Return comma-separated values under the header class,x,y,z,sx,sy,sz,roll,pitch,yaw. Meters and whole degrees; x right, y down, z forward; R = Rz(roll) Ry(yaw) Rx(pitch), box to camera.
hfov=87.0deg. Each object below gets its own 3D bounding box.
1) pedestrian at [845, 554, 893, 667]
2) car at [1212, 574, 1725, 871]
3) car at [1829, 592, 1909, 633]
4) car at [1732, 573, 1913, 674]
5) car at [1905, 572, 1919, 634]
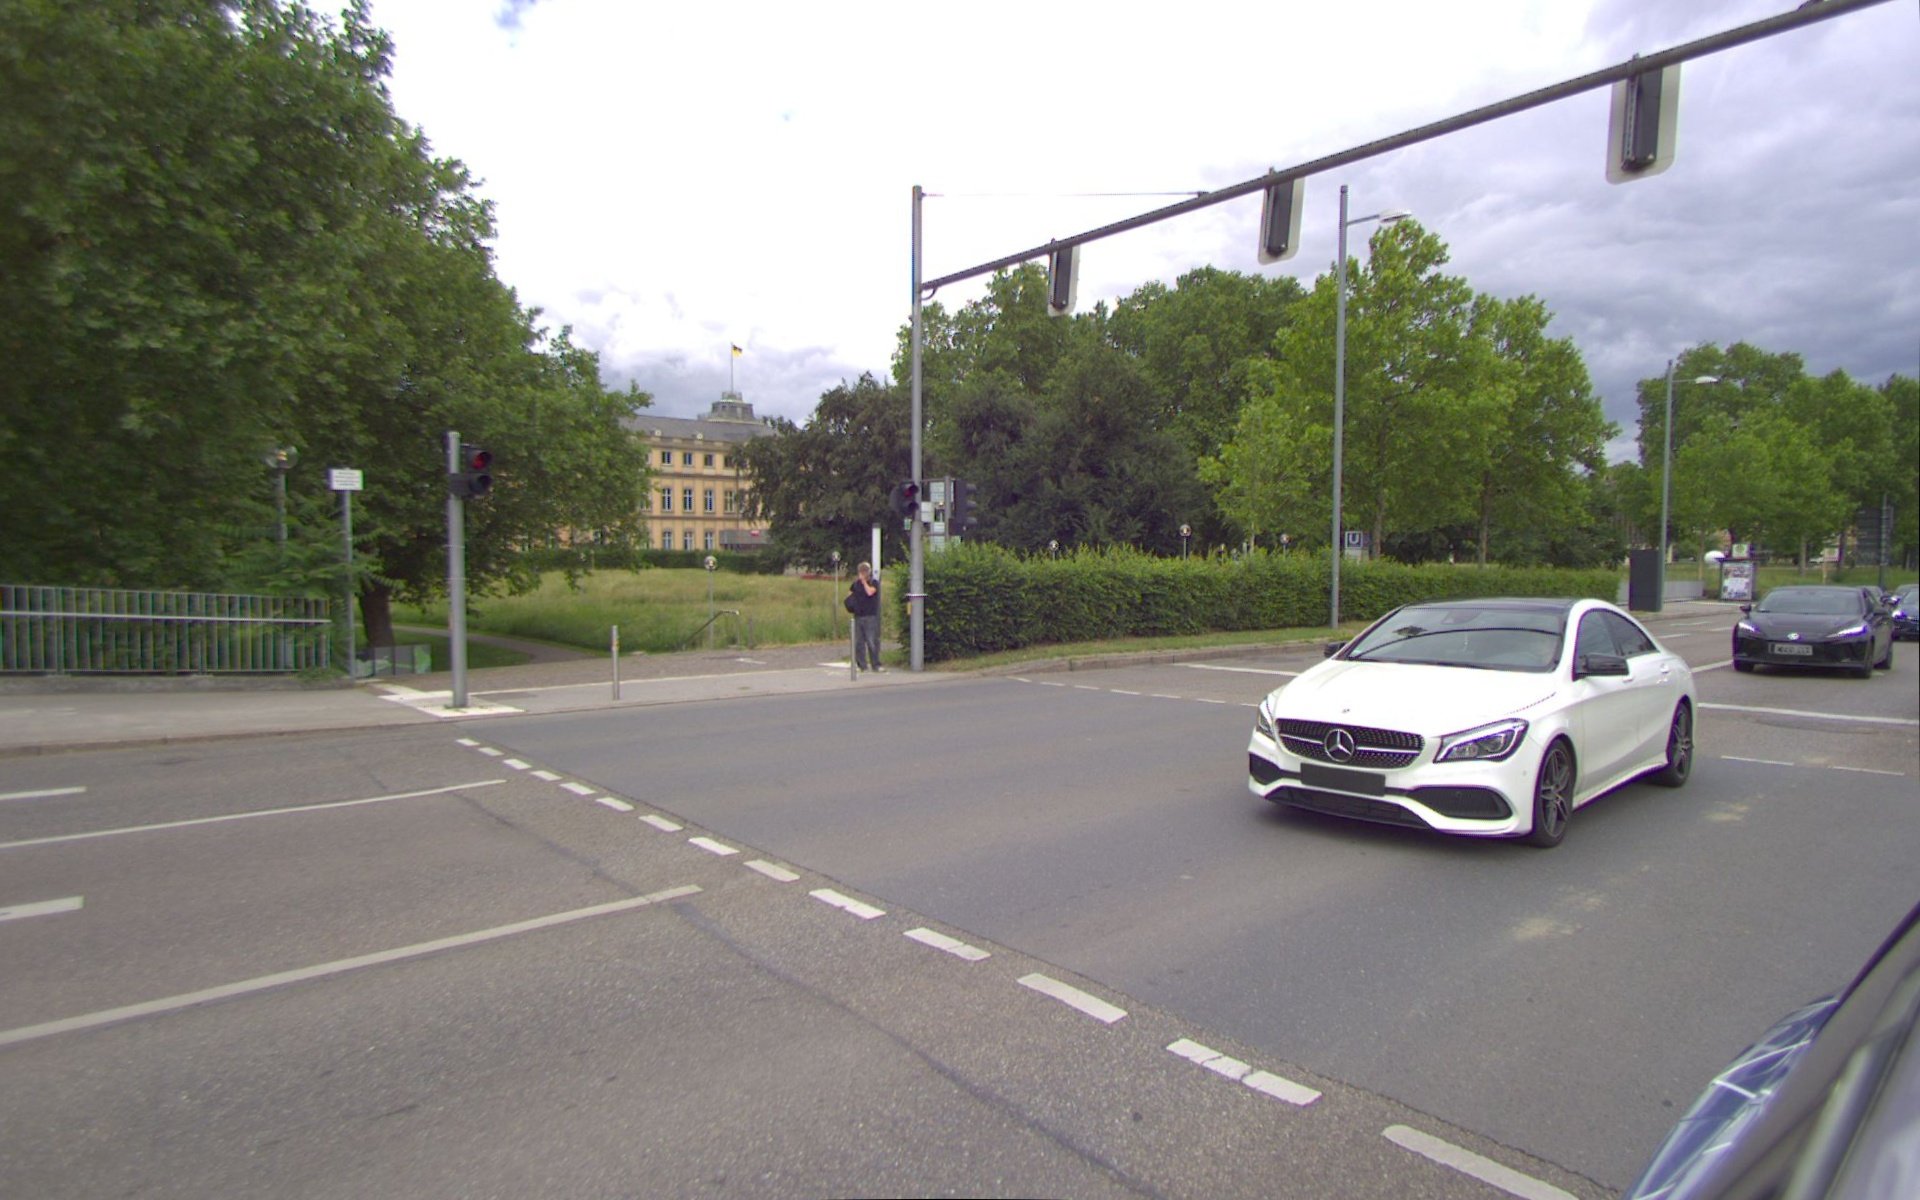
class,x,y,z,sx,sy,sz,roll,pitch,yaw
pedestrian,-1.470,0.157,16.349,0.610,1.785,0.478,-1,2,-44
car,3.808,0.563,7.185,4.428,1.441,1.722,-2,2,-41
car,35.944,0.443,39.986,3.930,1.438,1.866,-2,2,-41
car,15.082,0.315,17.632,4.048,1.543,1.828,-1,2,-41
car,26.537,0.038,26.927,3.931,1.556,1.572,-2,1,-40
